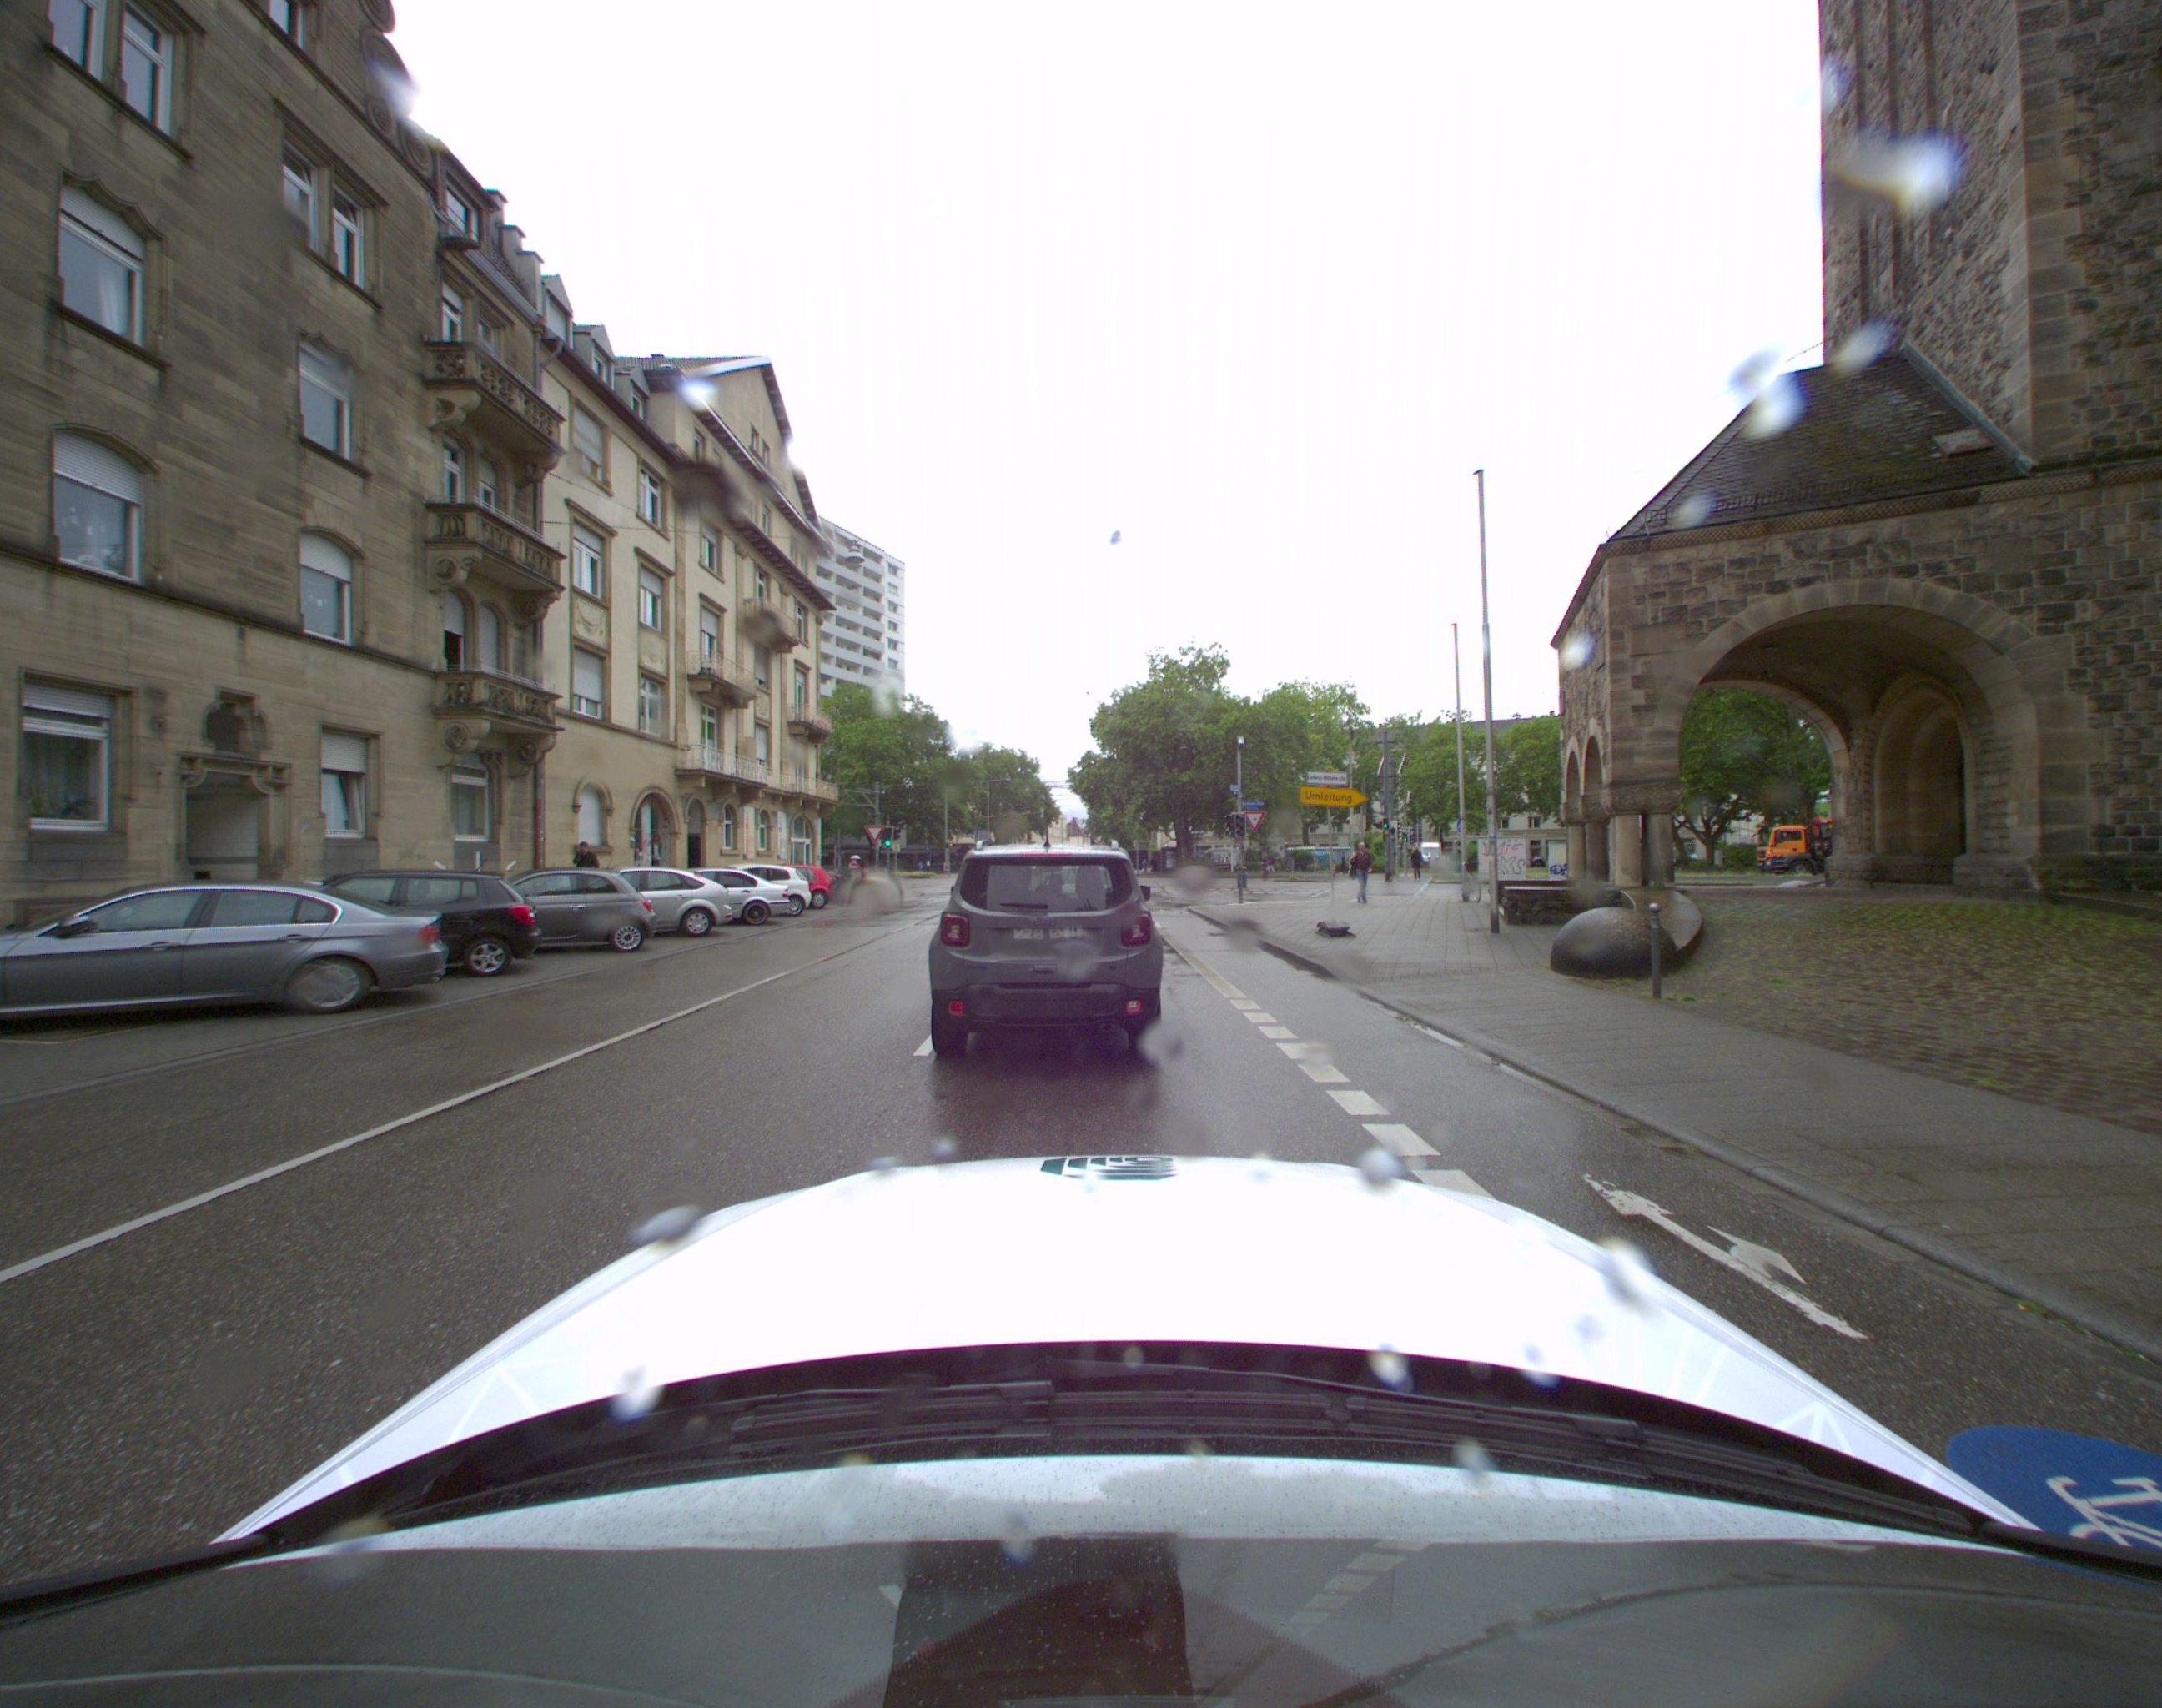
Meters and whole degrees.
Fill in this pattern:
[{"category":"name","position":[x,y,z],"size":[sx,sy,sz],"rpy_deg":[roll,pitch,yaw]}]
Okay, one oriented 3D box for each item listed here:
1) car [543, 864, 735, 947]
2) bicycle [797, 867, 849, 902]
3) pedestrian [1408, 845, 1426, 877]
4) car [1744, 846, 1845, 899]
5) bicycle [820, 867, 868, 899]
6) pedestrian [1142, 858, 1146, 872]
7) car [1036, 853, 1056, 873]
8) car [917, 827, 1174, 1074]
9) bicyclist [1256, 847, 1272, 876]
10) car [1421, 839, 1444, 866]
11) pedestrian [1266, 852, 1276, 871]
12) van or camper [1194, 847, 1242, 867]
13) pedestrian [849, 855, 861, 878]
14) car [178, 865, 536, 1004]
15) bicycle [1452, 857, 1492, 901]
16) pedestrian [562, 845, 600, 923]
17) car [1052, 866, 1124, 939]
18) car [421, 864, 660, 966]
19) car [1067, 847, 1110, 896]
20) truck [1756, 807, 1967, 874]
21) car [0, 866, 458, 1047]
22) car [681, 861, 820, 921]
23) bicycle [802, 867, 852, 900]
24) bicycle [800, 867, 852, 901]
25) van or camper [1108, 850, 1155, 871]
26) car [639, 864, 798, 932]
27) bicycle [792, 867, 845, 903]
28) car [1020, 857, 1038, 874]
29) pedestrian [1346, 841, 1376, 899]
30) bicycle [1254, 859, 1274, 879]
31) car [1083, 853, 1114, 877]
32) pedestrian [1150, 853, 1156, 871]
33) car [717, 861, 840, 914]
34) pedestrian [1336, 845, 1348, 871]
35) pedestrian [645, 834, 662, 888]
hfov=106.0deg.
[{"category":"car","position":[-9.514,1.022,17.618],"size":[3.419,1.558,1.686],"rpy_deg":[-1,-1,-38]},{"category":"bicycle","position":[-9.777,1.150,30.909],"size":[1.805,1.266,0.498],"rpy_deg":[-1,-1,-1]},{"category":"pedestrian","position":[17.938,0.368,43.466],"size":[0.775,1.645,0.659],"rpy_deg":[-2,-1,25]},{"category":"car","position":[21.247,0.519,24.370],"size":[1.390,1.479,3.239],"rpy_deg":[-1,0,25]},{"category":"bicycle","position":[-9.757,1.200,33.501],"size":[1.758,1.266,0.608],"rpy_deg":[-1,-1,-1]},{"category":"pedestrian","position":[7.847,1.387,102.023],"size":[0.456,1.704,0.424],"rpy_deg":[-1,-1,2]},{"category":"car","position":[-3.141,0.786,73.344],"size":[1.717,1.739,3.726],"rpy_deg":[-1,0,-3]},{"category":"car","position":[-0.231,0.689,7.697],"size":[1.769,1.687,3.848],"rpy_deg":[-2,0,0]},{"category":"bicyclist","position":[10.522,0.439,46.767],"size":[0.681,1.617,0.888],"rpy_deg":[-2,-1,21]},{"category":"car","position":[35.149,-0.126,81.390],"size":[1.889,2.555,4.814],"rpy_deg":[-1,0,25]},{"category":"pedestrian","position":[15.778,0.660,67.655],"size":[0.667,1.554,0.766],"rpy_deg":[-1,-2,29]},{"category":"van or camper","position":[15.560,0.348,92.710],"size":[5.234,2.315,2.093],"rpy_deg":[0,0,5]},{"category":"pedestrian","position":[-18.247,1.024,65.806],"size":[0.614,1.826,0.697],"rpy_deg":[-2,-1,15]},{"category":"car","position":[-9.901,0.988,11.490],"size":[3.571,1.598,1.587],"rpy_deg":[-1,-1,-38]},{"category":"bicycle","position":[10.889,0.666,22.751],"size":[0.327,1.154,2.079],"rpy_deg":[-1,0,7]},{"category":"pedestrian","position":[-13.118,0.770,21.372],"size":[0.565,2.014,0.655],"rpy_deg":[-1,-1,1]},{"category":"car","position":[0.174,0.961,17.395],"size":[1.358,1.376,3.313],"rpy_deg":[-1,0,1]},{"category":"car","position":[-9.617,0.992,14.617],"size":[3.419,1.558,1.634],"rpy_deg":[-1,-1,-38]},{"category":"car","position":[0.350,0.722,36.061],"size":[1.764,2.014,4.001],"rpy_deg":[-1,0,1]},{"category":"truck","position":[44.095,-0.663,46.389],"size":[8.334,3.524,2.390],"rpy_deg":[-1,-1,24]},{"category":"car","position":[-9.512,0.956,8.570],"size":[4.573,1.545,1.668],"rpy_deg":[-1,-1,-42]},{"category":"car","position":[-9.557,1.006,23.618],"size":[3.419,1.558,1.686],"rpy_deg":[-1,-1,-38]},{"category":"bicycle","position":[-10.167,1.159,32.627],"size":[1.758,1.266,0.608],"rpy_deg":[-1,-1,-1]},{"category":"bicycle","position":[-9.889,1.164,31.595],"size":[1.805,1.266,0.498],"rpy_deg":[-1,-1,-1]},{"category":"van or camper","position":[7.609,0.988,122.984],"size":[6.465,2.912,2.509],"rpy_deg":[-1,-1,28]},{"category":"car","position":[-9.273,1.058,20.916],"size":[3.419,1.558,1.686],"rpy_deg":[-1,-1,-38]},{"category":"bicycle","position":[-9.772,1.155,30.362],"size":[1.758,1.266,0.522],"rpy_deg":[-1,-1,-1]},{"category":"car","position":[-5.382,1.175,84.832],"size":[1.810,1.670,3.916],"rpy_deg":[-1,0,-3]},{"category":"pedestrian","position":[8.593,0.485,25.029],"size":[0.780,1.759,0.949],"rpy_deg":[-2,-1,16]},{"category":"bicycle","position":[10.525,0.846,46.742],"size":[0.686,1.021,2.672],"rpy_deg":[-2,0,21]},{"category":"car","position":[0.972,0.583,44.173],"size":[1.586,1.252,3.577],"rpy_deg":[-1,0,2]},{"category":"pedestrian","position":[8.038,0.859,90.774],"size":[0.646,2.014,0.484],"rpy_deg":[-1,-1,13]},{"category":"car","position":[-9.835,1.050,26.569],"size":[3.419,1.558,1.686],"rpy_deg":[-1,-1,-38]},{"category":"pedestrian","position":[20.881,0.307,65.188],"size":[0.798,2.014,0.593],"rpy_deg":[-1,-1,28]},{"category":"pedestrian","position":[-14.624,0.244,27.892],"size":[0.365,1.823,0.347],"rpy_deg":[-2,-1,-1]}]
